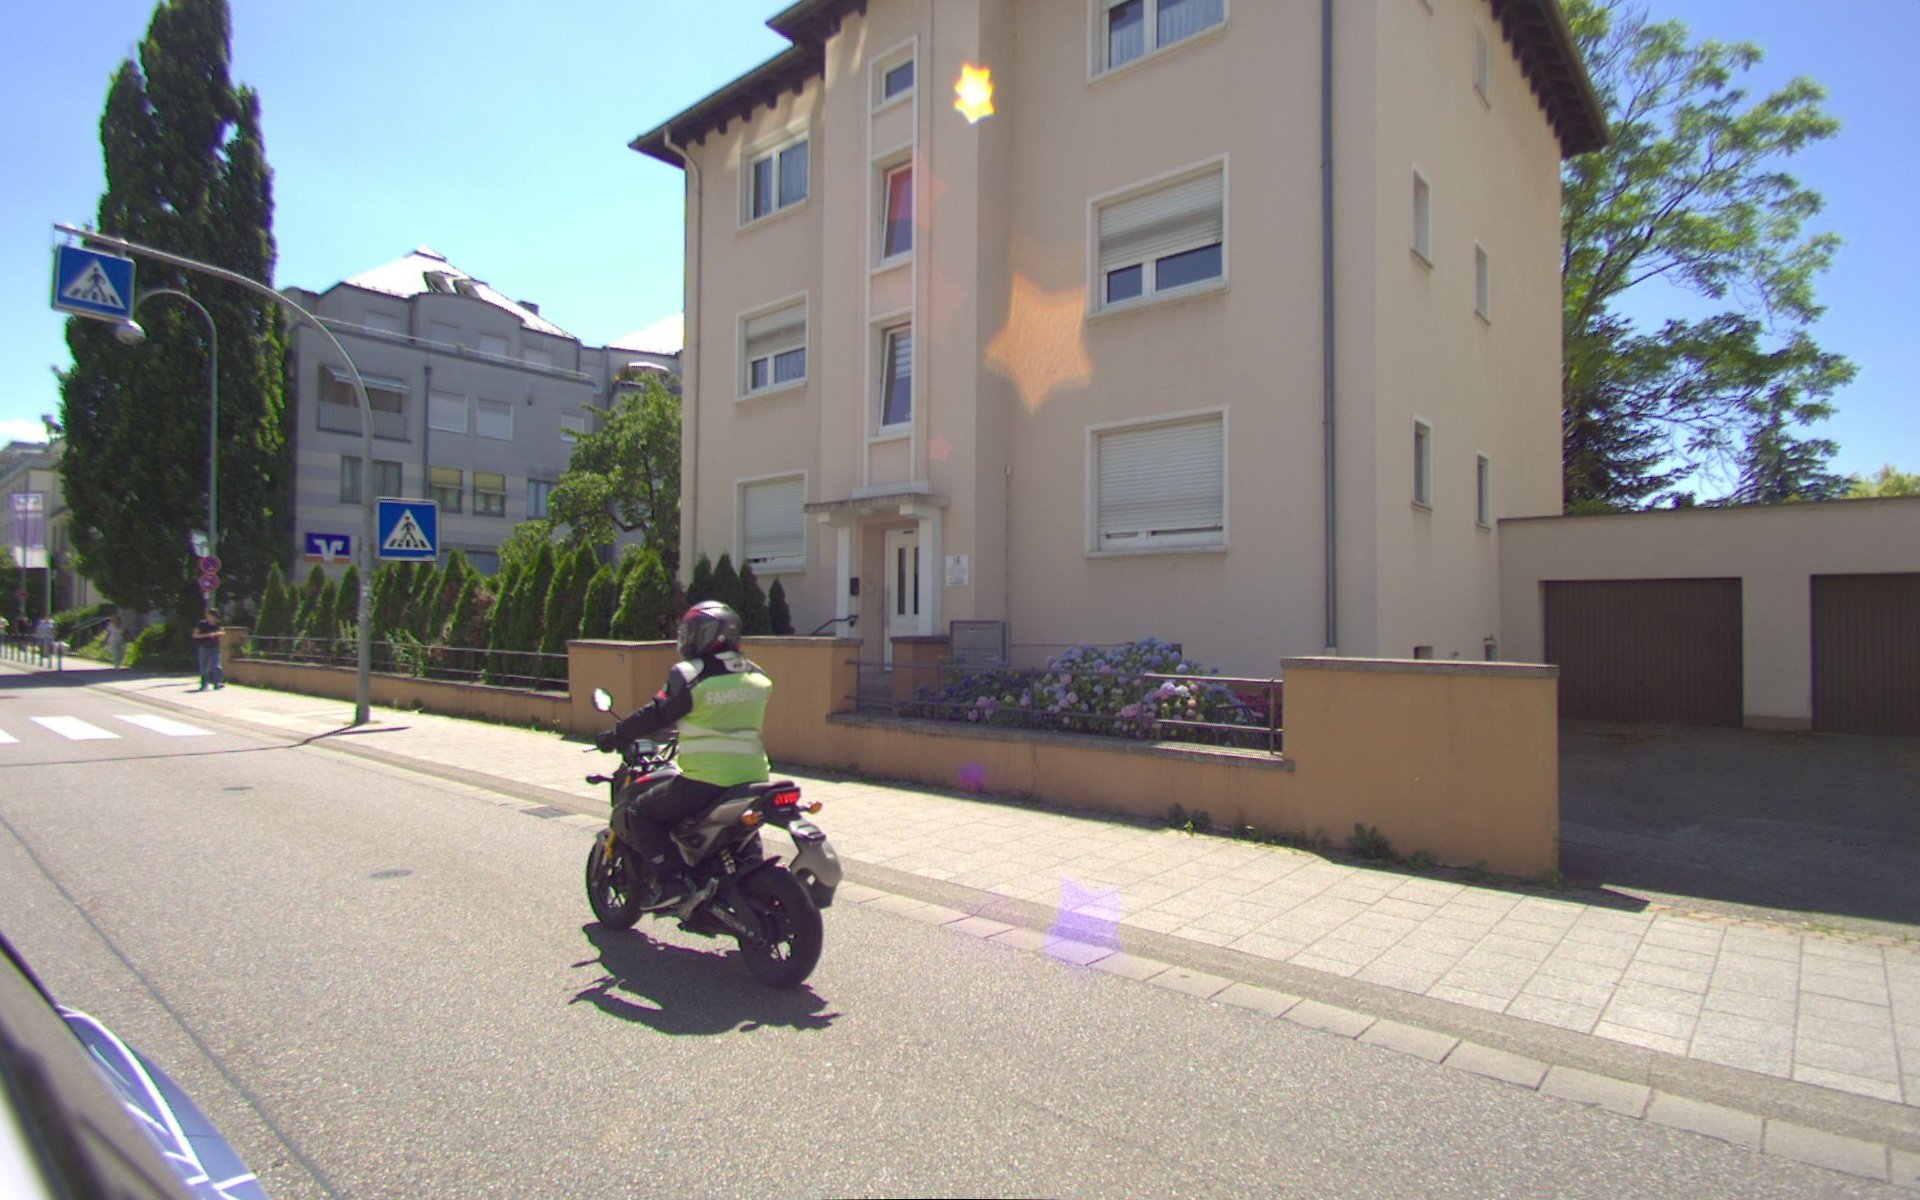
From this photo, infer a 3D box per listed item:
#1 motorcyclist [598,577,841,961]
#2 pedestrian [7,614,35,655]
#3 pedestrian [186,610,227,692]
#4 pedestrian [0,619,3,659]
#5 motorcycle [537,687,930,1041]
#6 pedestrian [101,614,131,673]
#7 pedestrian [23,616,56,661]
[{"bbox_3d":[-1.023,0.659,4.336,0.707,1.444,0.691,-1,-4,41],"label":"motorcyclist"},{"bbox_3d":[-40.765,1.496,43.935,0.950,1.784,0.740,-1,-2,40],"label":"pedestrian"},{"bbox_3d":[-15.941,1.058,21.419,0.708,1.698,0.531,-1,-2,41],"label":"pedestrian"},{"bbox_3d":[-41.434,1.686,43.268,0.903,1.689,0.614,-1,0,40],"label":"pedestrian"},{"bbox_3d":[-1.024,0.972,4.320,1.789,1.116,0.691,-1,-4,42],"label":"motorcycle"},{"bbox_3d":[-24.579,1.264,29.460,0.708,1.698,0.531,-1,-2,41],"label":"pedestrian"},{"bbox_3d":[-34.862,1.442,38.345,0.751,1.657,0.836,-1,1,42],"label":"pedestrian"}]
